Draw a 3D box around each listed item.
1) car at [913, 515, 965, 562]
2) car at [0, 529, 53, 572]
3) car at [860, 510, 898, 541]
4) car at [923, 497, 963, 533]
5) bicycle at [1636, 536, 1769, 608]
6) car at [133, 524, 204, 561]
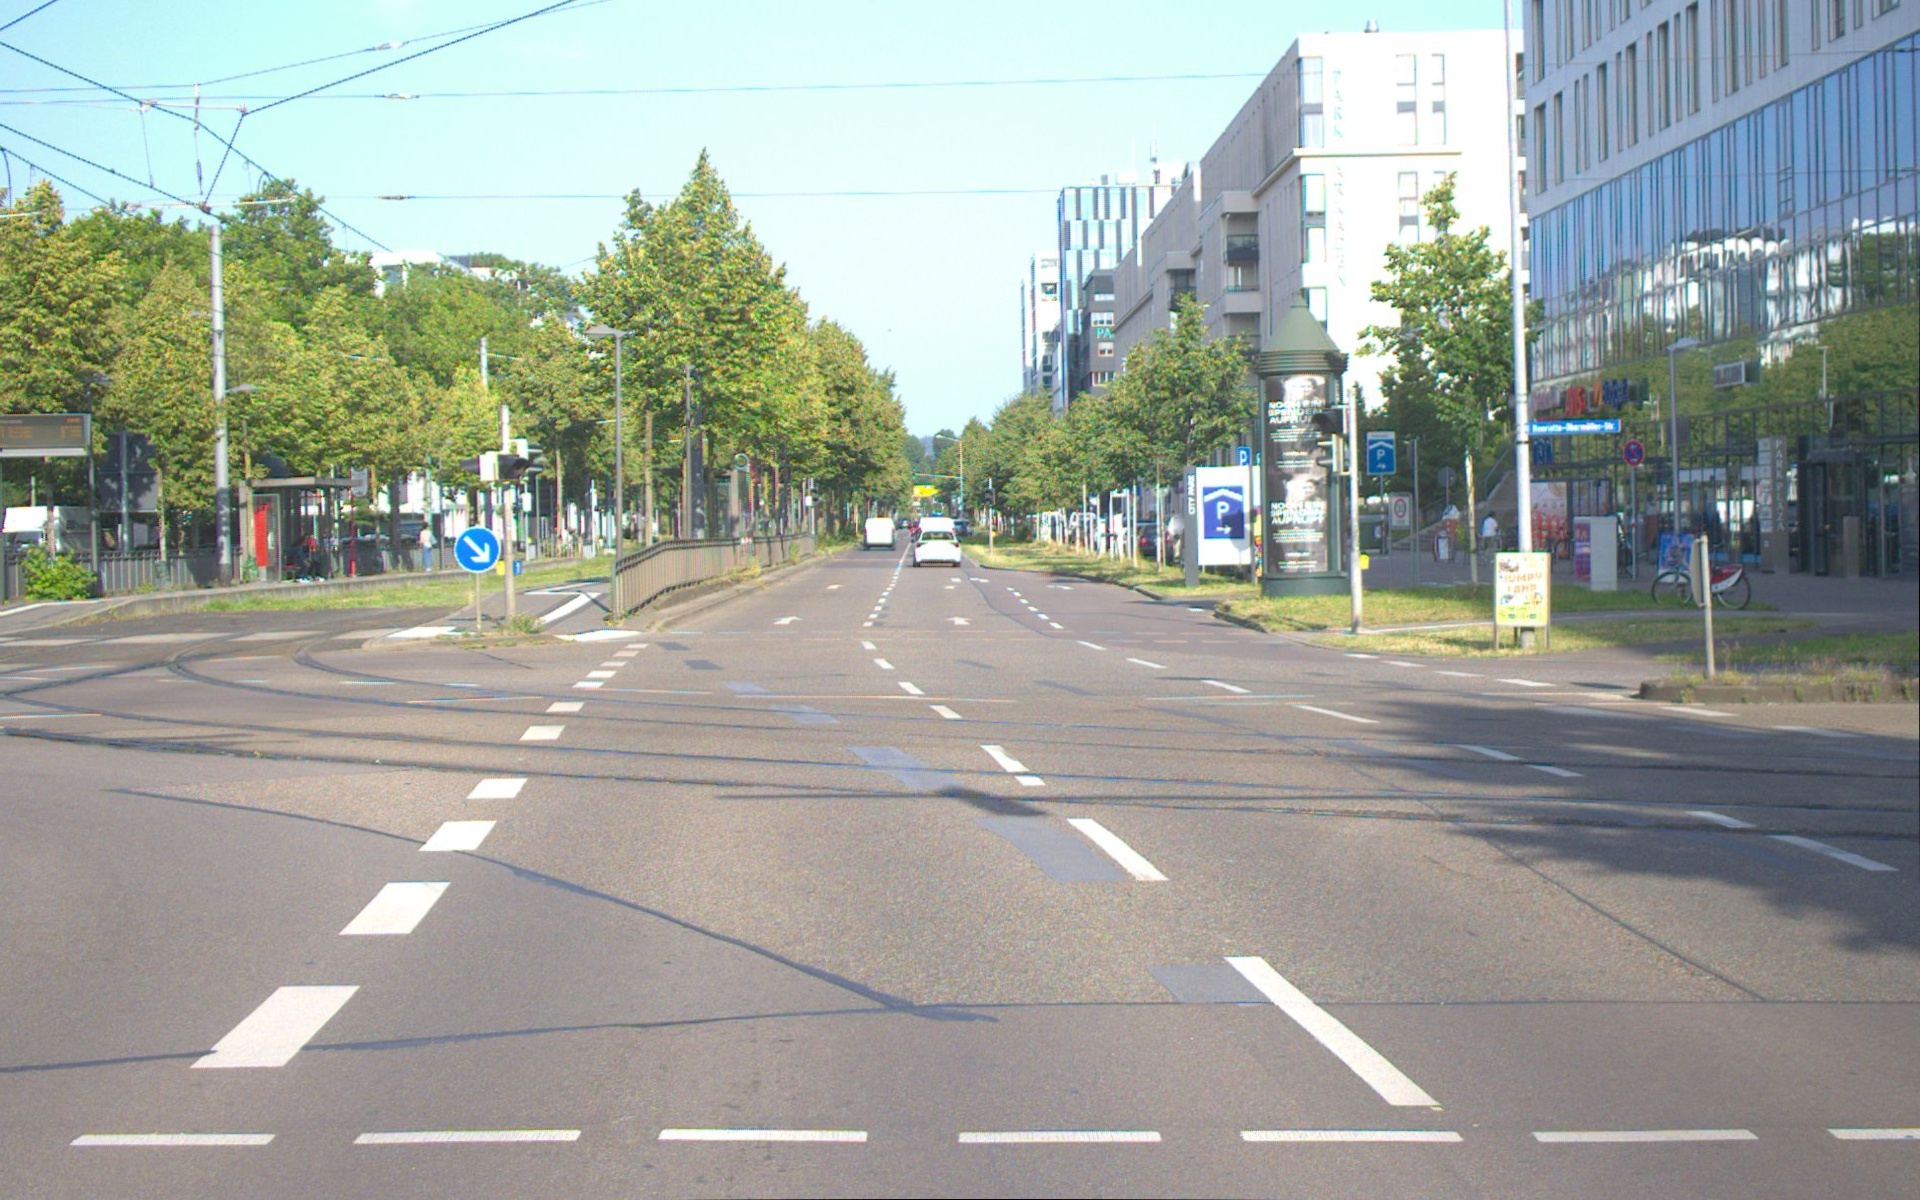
[{"bbox_3d":[-0.775,-2.299,127.763,1.864,1.678,4.000,1,2,0],"label":"car"},{"bbox_3d":[-35.695,-1.860,129.158,1.881,1.554,4.000,-1,1,5],"label":"car"},{"bbox_3d":[-4.565,-4.225,194.823,2.014,1.678,4.000,1,2,0],"label":"car"},{"bbox_3d":[-0.783,-4.035,162.787,1.864,1.678,4.000,1,2,0],"label":"car"},{"bbox_3d":[11.449,-0.444,53.077,0.771,1.028,1.878,-2,4,-44],"label":"bicycle"},{"bbox_3d":[-34.420,-2.507,149.574,1.881,1.554,4.000,-1,1,5],"label":"car"}]
